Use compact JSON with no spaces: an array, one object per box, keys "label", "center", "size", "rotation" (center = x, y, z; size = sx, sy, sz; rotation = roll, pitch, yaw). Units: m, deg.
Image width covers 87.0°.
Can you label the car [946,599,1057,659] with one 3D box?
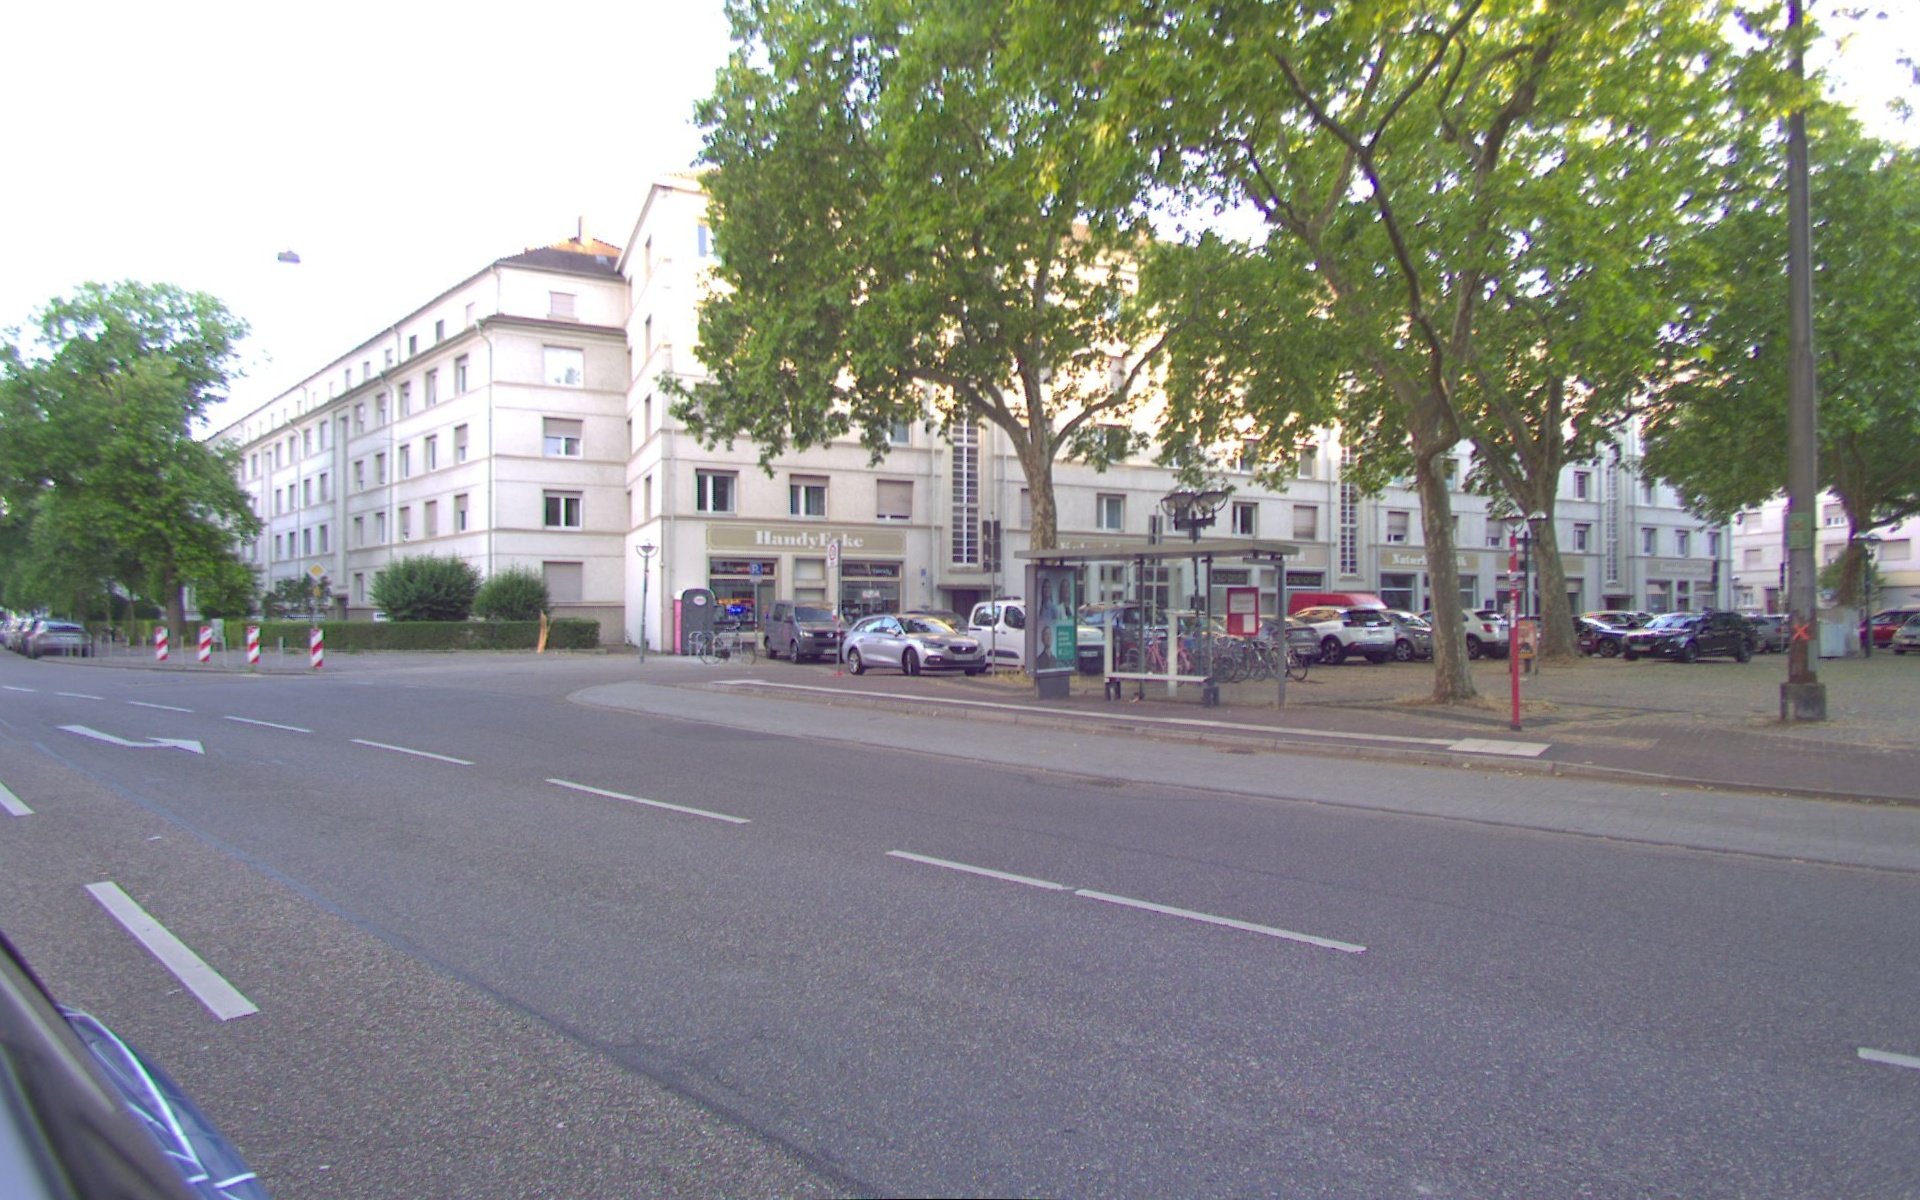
[{"label":"car","center":[1.416,0.989,36.594],"size":[1.965,1.970,4.656],"rotation":[1,0,-26]}]

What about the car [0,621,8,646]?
[{"label":"car","center":[-76.323,2.637,79.730],"size":[1.866,1.879,4.263],"rotation":[-1,0,-44]}]

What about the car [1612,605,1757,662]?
[{"label":"car","center":[20.749,0.925,28.978],"size":[3.696,1.540,1.680],"rotation":[1,0,-23]}]

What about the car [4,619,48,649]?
[{"label":"car","center":[-56.377,2.016,61.087],"size":[1.866,1.612,4.263],"rotation":[-1,0,-44]}]

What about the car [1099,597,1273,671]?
[{"label":"car","center":[5.919,0.955,27.118],"size":[1.965,1.795,4.655],"rotation":[1,-3,-28]}]

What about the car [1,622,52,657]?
[{"label":"car","center":[-48.546,2.010,52.610],"size":[1.866,1.612,4.263],"rotation":[-1,0,-44]}]

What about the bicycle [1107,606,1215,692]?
[{"label":"bicycle","center":[4.056,0.942,20.710],"size":[0.680,1.626,2.754],"rotation":[0,0,-24]}]

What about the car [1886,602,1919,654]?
[{"label":"car","center":[33.071,0.899,33.885],"size":[3.696,1.674,1.680],"rotation":[-1,0,-23]}]

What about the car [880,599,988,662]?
[{"label":"car","center":[-0.993,1.011,35.410],"size":[1.965,1.970,4.656],"rotation":[1,0,-26]}]

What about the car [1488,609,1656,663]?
[{"label":"car","center":[21.362,1.291,35.565],"size":[1.965,1.748,4.655],"rotation":[1,-3,-28]}]

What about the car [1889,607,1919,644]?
[{"label":"car","center":[47.597,1.205,48.210],"size":[1.969,1.748,4.648],"rotation":[2,-4,-40]}]

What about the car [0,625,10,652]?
[{"label":"car","center":[-70.061,2.759,73.242],"size":[1.866,1.840,4.263],"rotation":[-1,0,-44]}]

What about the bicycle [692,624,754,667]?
[{"label":"bicycle","center":[-7.172,1.369,30.653],"size":[1.776,1.215,0.649],"rotation":[0,0,-16]}]

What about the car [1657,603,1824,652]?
[{"label":"car","center":[29.947,1.110,38.988],"size":[1.965,1.748,4.655],"rotation":[1,-3,-28]}]

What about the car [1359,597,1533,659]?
[{"label":"car","center":[15.170,0.936,31.871],"size":[1.965,1.795,4.655],"rotation":[1,-3,-28]}]

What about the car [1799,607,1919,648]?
[{"label":"car","center":[40.628,1.251,45.097],"size":[1.969,1.748,4.648],"rotation":[2,-4,-40]}]

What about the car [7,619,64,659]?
[{"label":"car","center":[-43.287,1.791,47.345],"size":[1.866,1.703,4.263],"rotation":[-1,0,-44]}]

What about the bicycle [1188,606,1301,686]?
[{"label":"bicycle","center":[6.173,0.948,22.154],"size":[0.795,1.626,2.754],"rotation":[0,0,-24]}]

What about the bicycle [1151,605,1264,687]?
[{"label":"bicycle","center":[5.234,0.930,21.638],"size":[0.795,1.626,2.754],"rotation":[0,0,-24]}]

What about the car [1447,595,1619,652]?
[{"label":"car","center":[19.179,0.862,34.105],"size":[1.965,1.795,4.655],"rotation":[1,-3,-28]}]

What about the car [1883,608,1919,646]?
[{"label":"car","center":[45.720,1.221,46.507],"size":[1.969,1.748,4.648],"rotation":[2,-4,-40]}]

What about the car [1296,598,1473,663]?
[{"label":"car","center":[12.599,0.956,30.371],"size":[1.965,1.795,4.655],"rotation":[1,-3,-28]}]

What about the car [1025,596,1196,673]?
[{"label":"car","center":[3.763,0.931,26.213],"size":[1.965,1.795,4.655],"rotation":[1,-3,-28]}]

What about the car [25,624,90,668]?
[{"label":"car","center":[-37.373,1.864,41.882],"size":[1.867,1.612,4.003],"rotation":[-1,0,-44]}]

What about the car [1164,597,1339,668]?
[{"label":"car","center":[7.973,0.955,28.201],"size":[1.965,1.795,4.655],"rotation":[1,-3,-28]}]

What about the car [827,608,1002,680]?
[{"label":"car","center":[-1.195,1.046,23.885],"size":[1.967,1.515,4.652],"rotation":[2,-3,-35]}]

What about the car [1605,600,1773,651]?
[{"label":"car","center":[27.079,1.013,37.763],"size":[1.965,1.795,4.655],"rotation":[1,-3,-28]}]

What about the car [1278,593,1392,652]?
[{"label":"car","center":[16.644,0.934,45.180],"size":[1.965,2.460,4.656],"rotation":[1,0,-26]}]

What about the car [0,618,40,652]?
[{"label":"car","center":[-52.886,1.925,56.691],"size":[1.866,1.787,4.263],"rotation":[-1,0,-44]}]

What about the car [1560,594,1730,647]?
[{"label":"car","center":[24.737,0.817,36.749],"size":[2.057,1.795,4.655],"rotation":[1,-3,-28]}]

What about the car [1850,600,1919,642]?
[{"label":"car","center":[43.233,0.953,45.386],"size":[1.968,1.824,4.658],"rotation":[2,-4,-38]}]

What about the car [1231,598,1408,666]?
[{"label":"car","center":[10.201,0.960,29.091],"size":[1.965,1.795,4.655],"rotation":[1,-3,-28]}]

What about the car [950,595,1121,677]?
[{"label":"car","center":[1.719,0.912,24.755],"size":[1.965,1.795,4.655],"rotation":[1,-3,-28]}]

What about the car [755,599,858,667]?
[{"label":"car","center":[-5.093,1.012,33.064],"size":[1.965,1.970,4.656],"rotation":[1,0,-26]}]

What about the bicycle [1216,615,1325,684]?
[{"label":"bicycle","center":[6.884,1.068,22.668],"size":[0.680,1.394,2.754],"rotation":[0,0,-24]}]
